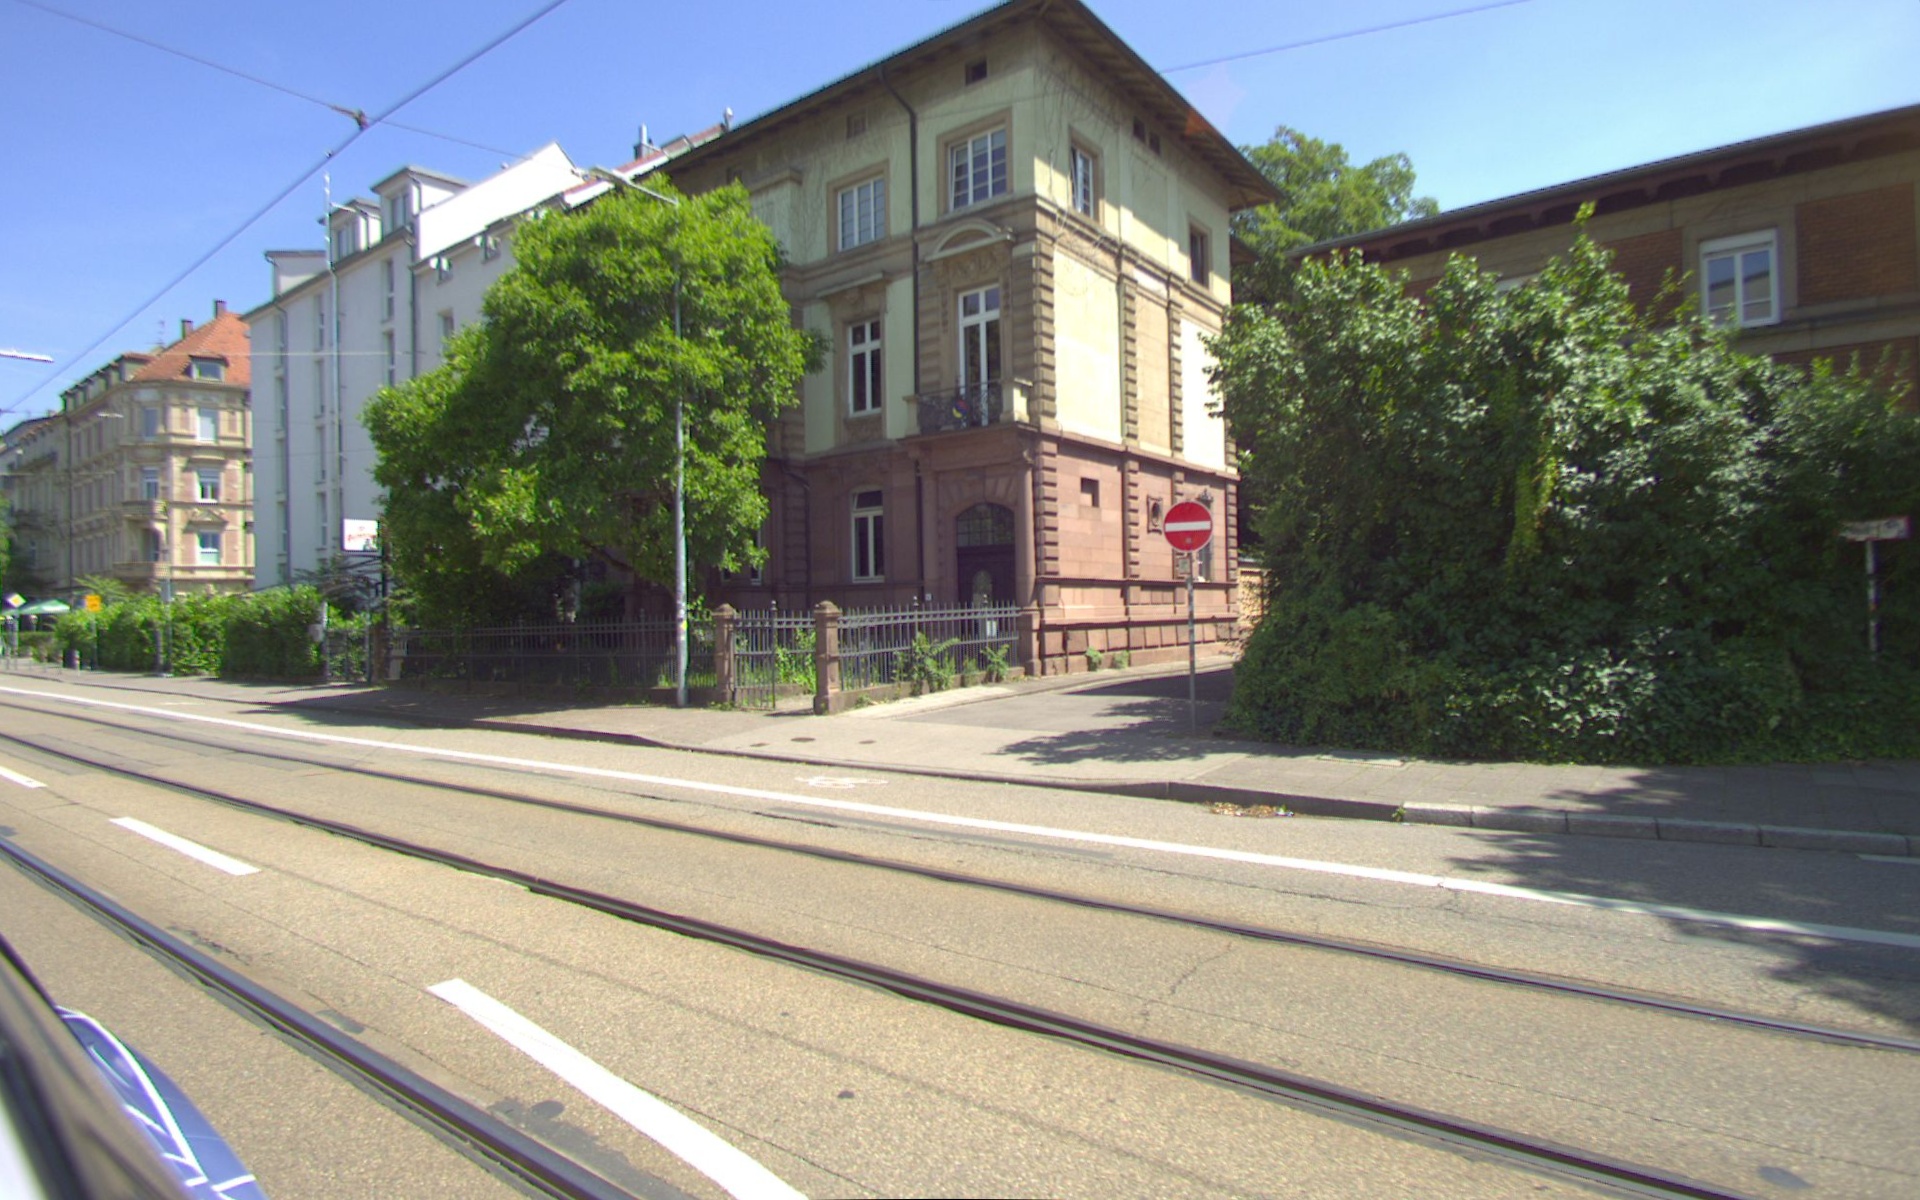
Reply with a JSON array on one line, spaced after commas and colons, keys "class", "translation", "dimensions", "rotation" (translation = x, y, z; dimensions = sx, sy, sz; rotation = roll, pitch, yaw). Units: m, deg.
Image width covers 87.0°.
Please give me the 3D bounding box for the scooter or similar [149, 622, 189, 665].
[{"class": "scooter or similar", "translation": [-28.419, 1.554, 36.362], "dimensions": [0.596, 1.462, 0.999], "rotation": [-1, 1, 37]}]
